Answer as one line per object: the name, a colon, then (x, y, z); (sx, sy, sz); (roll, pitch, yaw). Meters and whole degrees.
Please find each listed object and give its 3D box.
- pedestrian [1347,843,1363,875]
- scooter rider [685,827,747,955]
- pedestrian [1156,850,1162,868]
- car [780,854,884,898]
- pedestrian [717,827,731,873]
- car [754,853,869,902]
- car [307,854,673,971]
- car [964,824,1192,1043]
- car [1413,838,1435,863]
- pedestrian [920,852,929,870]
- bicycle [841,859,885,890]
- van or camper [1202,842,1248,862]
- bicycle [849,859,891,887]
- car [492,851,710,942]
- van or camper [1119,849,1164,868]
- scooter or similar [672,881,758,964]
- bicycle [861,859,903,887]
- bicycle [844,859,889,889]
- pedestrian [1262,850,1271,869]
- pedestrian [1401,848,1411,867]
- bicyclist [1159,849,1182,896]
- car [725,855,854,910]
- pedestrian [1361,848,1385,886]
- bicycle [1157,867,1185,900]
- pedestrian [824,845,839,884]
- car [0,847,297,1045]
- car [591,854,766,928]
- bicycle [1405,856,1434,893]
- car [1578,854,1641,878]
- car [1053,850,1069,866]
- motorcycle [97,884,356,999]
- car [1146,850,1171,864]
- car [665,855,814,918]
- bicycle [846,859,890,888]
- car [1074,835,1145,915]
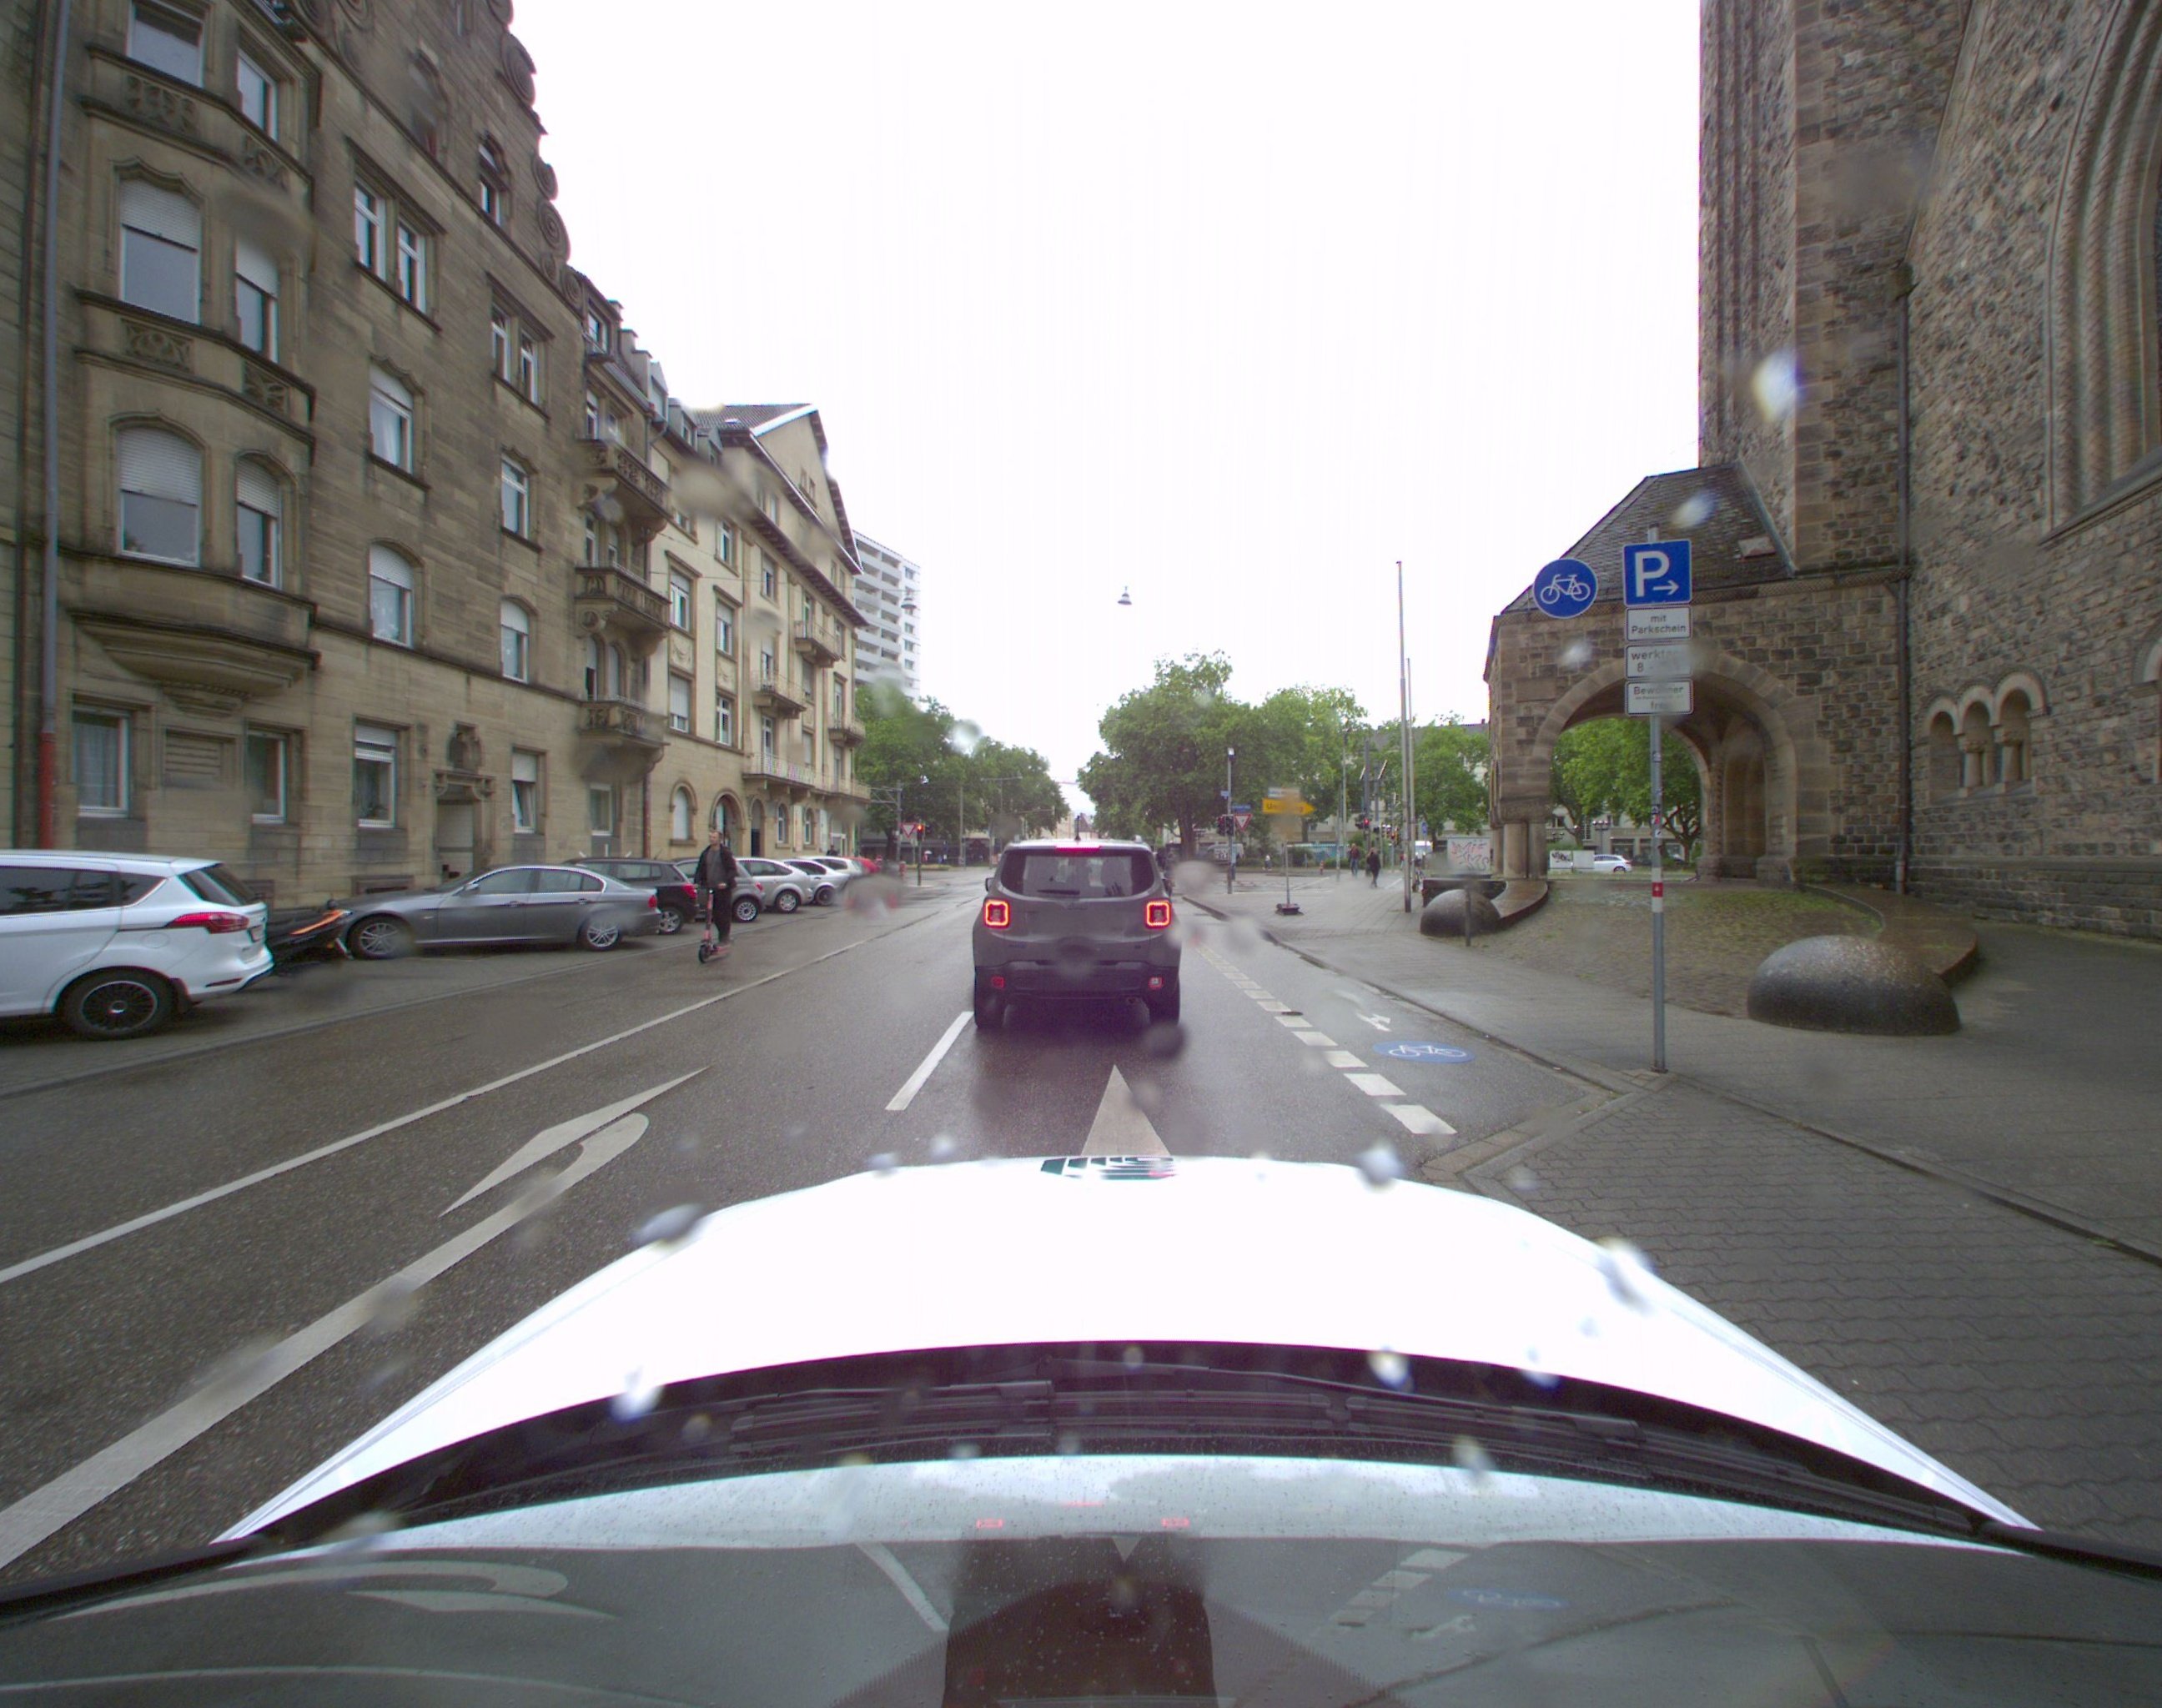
pedestrian: (15.193, 0.285, 45.157); (0.780, 1.759, 0.949); (-1, 0, 16)
scooter rider: (-5.665, 0.557, 12.666); (0.708, 1.935, 0.503); (-1, 0, -1)
pedestrian: (9.099, 0.593, 95.144); (0.646, 2.013, 0.484); (0, 0, 14)
car: (-9.507, 0.790, 31.146); (3.419, 1.558, 1.686); (0, 0, -38)
pedestrian: (-14.171, -0.168, 32.346); (0.365, 1.823, 0.347); (-1, -1, -1)
car: (-9.297, 0.765, 28.169); (3.419, 1.558, 1.686); (0, 0, -38)
car: (-9.316, 0.802, 13.173); (4.573, 1.545, 1.668); (-1, 0, -42)
car: (0.013, 0.626, 8.371); (1.769, 1.687, 3.849); (-1, 0, 1)
car: (36.026, -0.317, 85.545); (1.889, 2.555, 4.815); (-1, 0, 26)
pedestrian: (-16.456, 0.717, 85.660); (0.686, 1.826, 0.623); (-1, 0, 17)
bicycle: (-9.337, 0.873, 34.912); (1.758, 1.266, 0.522); (-1, 0, 0)
van or camper: (17.134, -0.266, 97.036); (5.233, 2.315, 2.093); (0, 0, 5)
bicycle: (-9.626, 0.859, 37.182); (1.758, 1.266, 0.608); (-1, 0, 0)
car: (-9.467, 0.756, 16.162); (3.570, 1.598, 1.587); (0, 0, -38)
van or camper: (9.377, 0.745, 127.110); (6.465, 2.912, 2.509); (-1, 0, 28)
scooter or similar: (-5.656, 1.031, 12.667); (0.698, 1.165, 1.385); (-1, 0, -1)
bicycle: (-9.295, 0.900, 38.051); (1.758, 1.266, 0.608); (-1, 0, 0)
bicycle: (-9.337, 0.865, 35.459); (1.804, 1.266, 0.498); (-1, 0, 0)
pedestrian: (16.085, 0.498, 70.617); (0.607, 1.603, 0.497); (-1, 0, 26)
pedestrian: (26.859, 0.254, 67.299); (0.667, 1.554, 0.766); (-1, -2, 30)
bicyclist: (3.150, 0.652, 28.723); (0.684, 1.617, 0.884); (-1, 0, 1)
car: (-9.053, 0.836, 25.357); (3.419, 1.558, 1.686); (0, 0, -38)
pedestrian: (12.852, 0.553, 35.804); (0.775, 1.645, 0.659); (-1, 0, 44)
bicycle: (3.164, 1.017, 28.794); (0.689, 1.021, 2.658); (-1, 0, 1)
pedestrian: (-13.015, 0.548, 42.479); (0.565, 2.013, 0.655); (0, 0, 2)
car: (-9.514, 0.748, 6.841); (4.064, 1.555, 1.778); (-1, 0, -39)
car: (-9.399, 0.803, 19.099); (3.419, 1.558, 1.634); (0, 0, -38)
bicycle: (11.258, 0.657, 27.115); (0.327, 1.154, 2.079); (-1, 0, 7)
car: (35.547, 0.780, 54.866); (3.404, 1.552, 1.603); (-1, 0, 27)
car: (-2.183, 0.430, 87.781); (1.717, 1.739, 3.727); (0, 0, -2)
motorcycle: (-9.501, 0.934, 9.181); (1.880, 1.162, 0.627); (2, -2, -35)
car: (11.642, 0.443, 121.881); (3.411, 2.014, 1.554); (-1, -1, 15)
car: (-9.251, 0.816, 22.115); (3.419, 1.558, 1.686); (0, 0, -38)
bicycle: (-9.444, 0.874, 36.146); (1.804, 1.266, 0.498); (-1, 0, 0)
car: (0.783, 0.523, 22.532); (1.763, 2.013, 4.001); (0, 0, 2)
